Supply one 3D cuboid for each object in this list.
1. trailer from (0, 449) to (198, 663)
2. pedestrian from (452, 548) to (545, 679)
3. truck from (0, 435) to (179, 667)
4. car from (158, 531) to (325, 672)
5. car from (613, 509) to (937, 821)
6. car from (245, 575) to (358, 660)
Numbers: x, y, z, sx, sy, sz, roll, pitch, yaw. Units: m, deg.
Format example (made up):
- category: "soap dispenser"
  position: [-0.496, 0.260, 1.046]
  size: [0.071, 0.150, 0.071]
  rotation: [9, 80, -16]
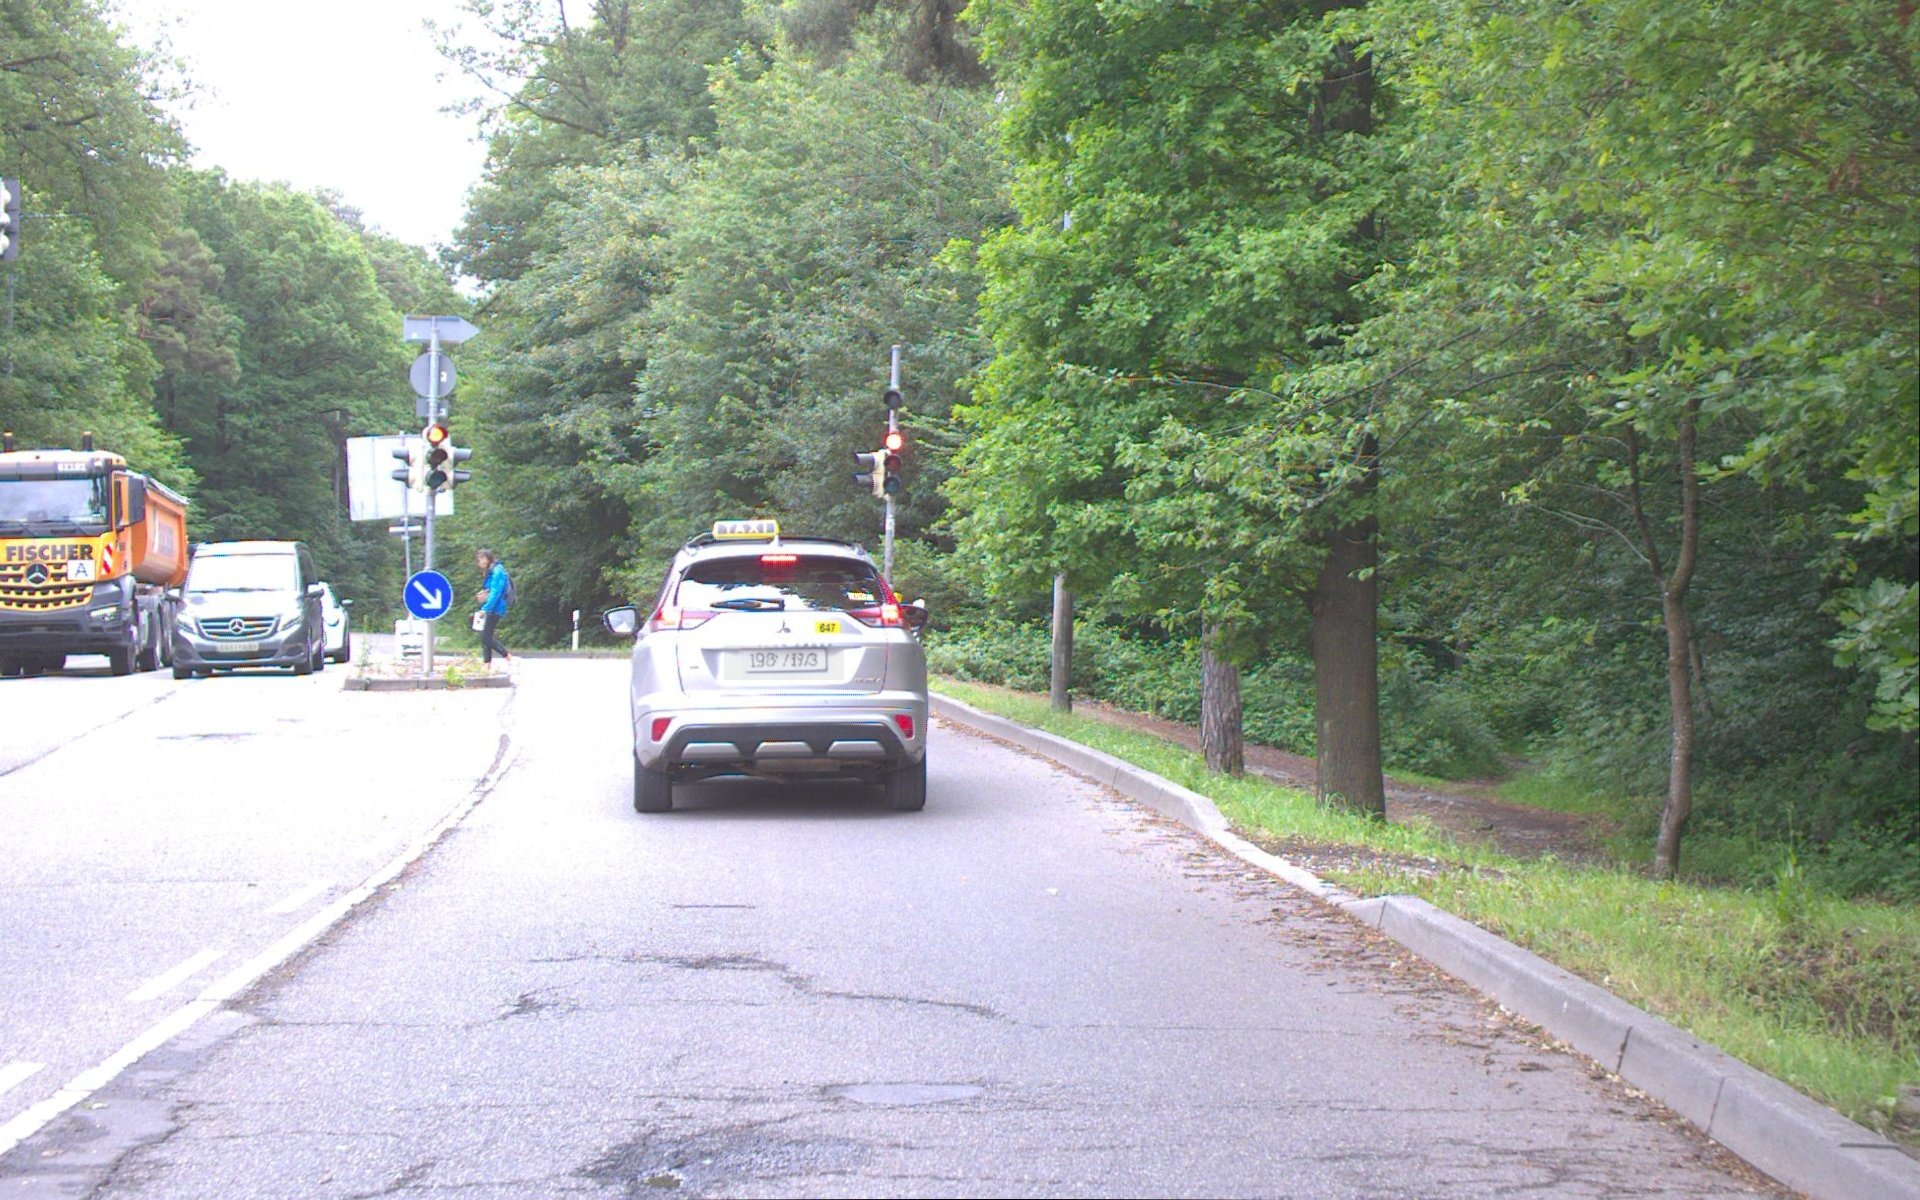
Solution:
- category: "trailer"
  position: [-14.541, -0.671, 58.099]
  size: [2.738, 3.307, 8.571]
  rotation: [-1, 0, -9]
- category: "pedestrian"
  position: [-5.879, 0.163, 43.837]
  size: [1.047, 1.643, 1.069]
  rotation: [0, 1, -1]
- category: "truck"
  position: [-13.699, -0.692, 53.001]
  size: [2.738, 3.307, 7.161]
  rotation: [-1, 0, -9]
- category: "car"
  position: [-10.305, 0.012, 49.622]
  size: [1.993, 1.887, 4.840]
  rotation: [-2, 0, -8]
- category: "car"
  position: [-1.112, 0.330, 22.030]
  size: [1.846, 1.774, 4.000]
  rotation: [2, 1, -1]
- category: "car"
  position: [-11.479, 0.283, 60.064]
  size: [1.612, 1.317, 3.722]
  rotation: [-2, 2, -7]
